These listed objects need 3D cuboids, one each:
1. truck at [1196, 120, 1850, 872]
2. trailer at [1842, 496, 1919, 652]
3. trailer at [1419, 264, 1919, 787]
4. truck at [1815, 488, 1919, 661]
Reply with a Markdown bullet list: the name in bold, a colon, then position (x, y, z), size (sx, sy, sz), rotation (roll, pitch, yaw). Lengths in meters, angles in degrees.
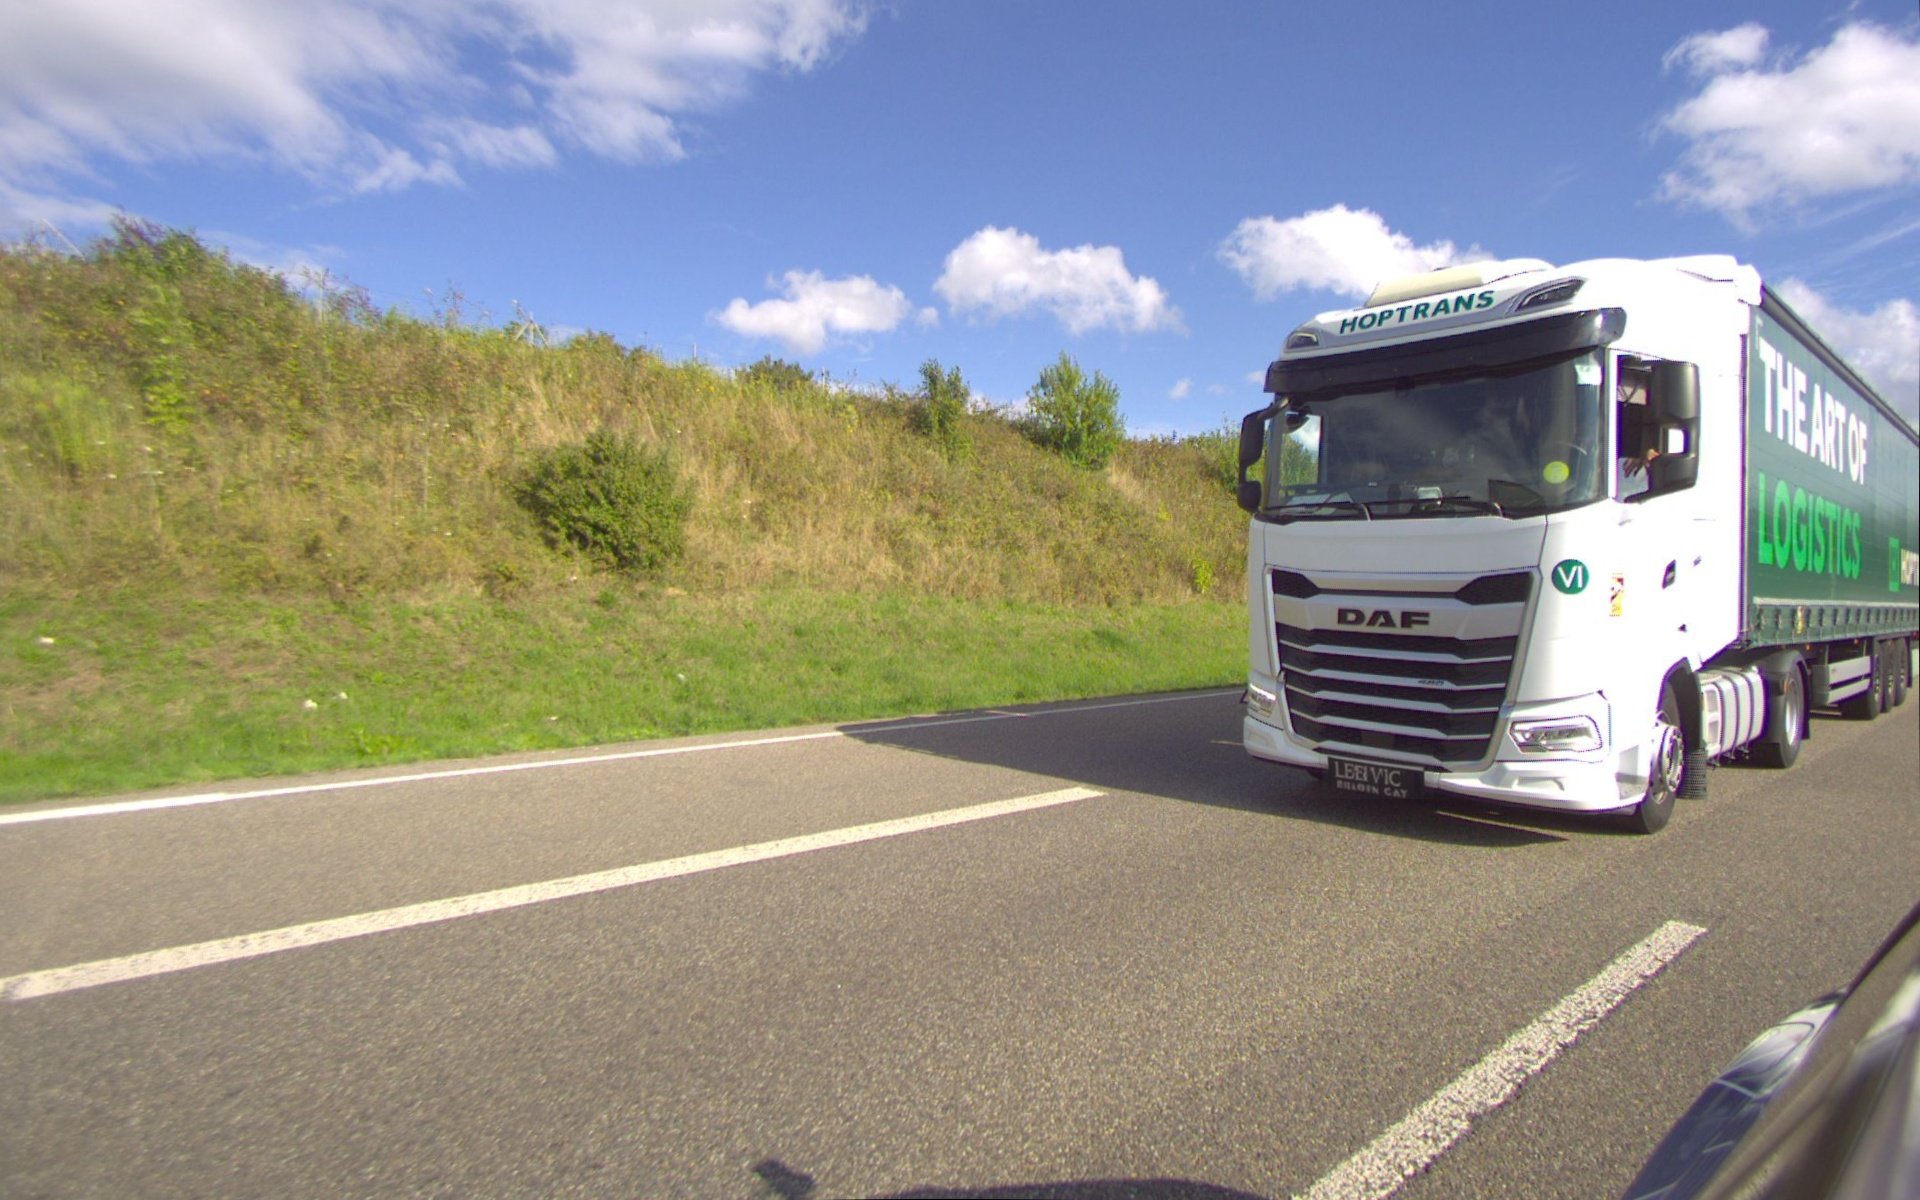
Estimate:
- **truck**: position (5.155, -0.582, 8.540), size (6.874, 3.917, 2.651), rotation (-1, 0, -41)
- **trailer**: position (29.401, -0.728, 30.129), size (12.839, 3.989, 2.796), rotation (-1, 0, -40)
- **trailer**: position (10.185, -0.625, 12.916), size (13.161, 3.917, 2.666), rotation (-1, 0, -41)
- **truck**: position (23.993, -0.617, 25.501), size (5.724, 3.989, 2.806), rotation (-1, -1, -41)
